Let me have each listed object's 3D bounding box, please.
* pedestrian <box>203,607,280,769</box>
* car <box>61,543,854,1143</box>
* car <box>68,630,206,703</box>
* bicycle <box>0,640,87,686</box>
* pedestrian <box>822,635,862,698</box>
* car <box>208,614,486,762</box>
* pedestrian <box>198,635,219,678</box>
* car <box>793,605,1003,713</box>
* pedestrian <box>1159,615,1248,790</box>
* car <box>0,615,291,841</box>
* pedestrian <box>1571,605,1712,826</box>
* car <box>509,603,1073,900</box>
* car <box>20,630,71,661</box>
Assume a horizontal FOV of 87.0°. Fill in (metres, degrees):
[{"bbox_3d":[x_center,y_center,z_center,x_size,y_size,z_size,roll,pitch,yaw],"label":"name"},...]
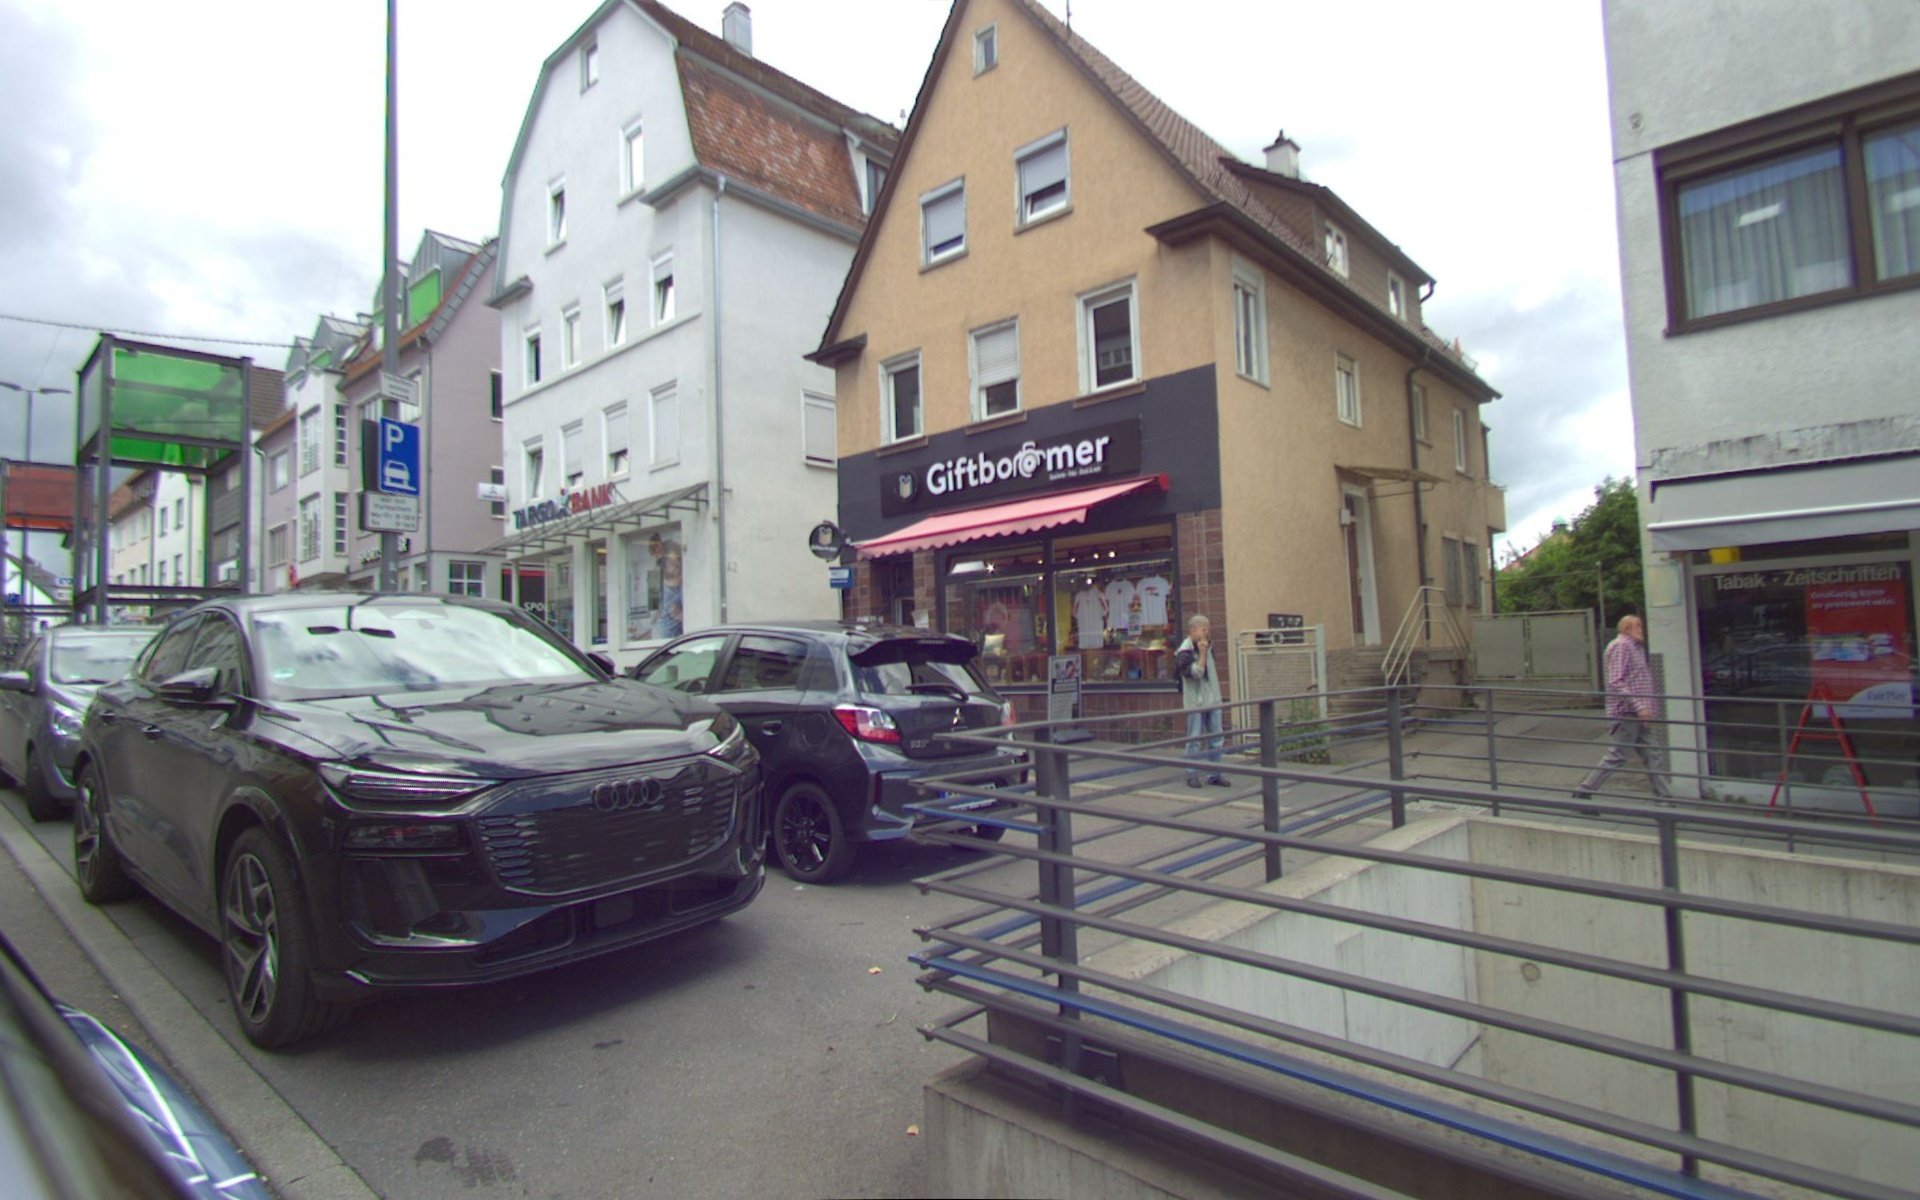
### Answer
[{"bbox_3d":[-7.859,0.937,11.062,0.901,1.685,0.527,-3,-3,44],"label":"pedestrian"},{"bbox_3d":[-2.717,0.708,4.941,4.311,1.652,1.936,-2,-1,40],"label":"car"},{"bbox_3d":[-18.399,1.431,22.567,3.851,1.486,1.553,-1,-3,38],"label":"car"},{"bbox_3d":[-25.668,1.749,28.344,0.459,1.232,1.759,-2,-3,40],"label":"bicycle"},{"bbox_3d":[-2.563,1.426,21.946,0.607,1.329,0.619,-2,-3,41],"label":"pedestrian"},{"bbox_3d":[-7.790,0.997,12.704,4.190,1.555,1.721,-1,-3,40],"label":"car"},{"bbox_3d":[-30.655,2.303,41.284,0.513,1.729,0.584,-2,-1,41],"label":"pedestrian"},{"bbox_3d":[-1.177,1.111,20.611,1.883,1.887,4.026,-3,-1,43],"label":"car"},{"bbox_3d":[2.451,1.016,10.253,0.635,1.702,0.667,0,-3,-9],"label":"pedestrian"},{"bbox_3d":[-7.357,0.936,8.866,3.669,1.544,1.603,-2,-1,41],"label":"car"},{"bbox_3d":[5.594,0.907,8.321,0.632,1.702,0.828,3,-3,-44],"label":"pedestrian"},{"bbox_3d":[-1.326,0.863,7.026,3.881,1.487,1.721,-2,-6,40],"label":"car"},{"bbox_3d":[-50.868,2.496,56.274,4.121,1.583,1.662,-2,-1,41],"label":"car"}]
